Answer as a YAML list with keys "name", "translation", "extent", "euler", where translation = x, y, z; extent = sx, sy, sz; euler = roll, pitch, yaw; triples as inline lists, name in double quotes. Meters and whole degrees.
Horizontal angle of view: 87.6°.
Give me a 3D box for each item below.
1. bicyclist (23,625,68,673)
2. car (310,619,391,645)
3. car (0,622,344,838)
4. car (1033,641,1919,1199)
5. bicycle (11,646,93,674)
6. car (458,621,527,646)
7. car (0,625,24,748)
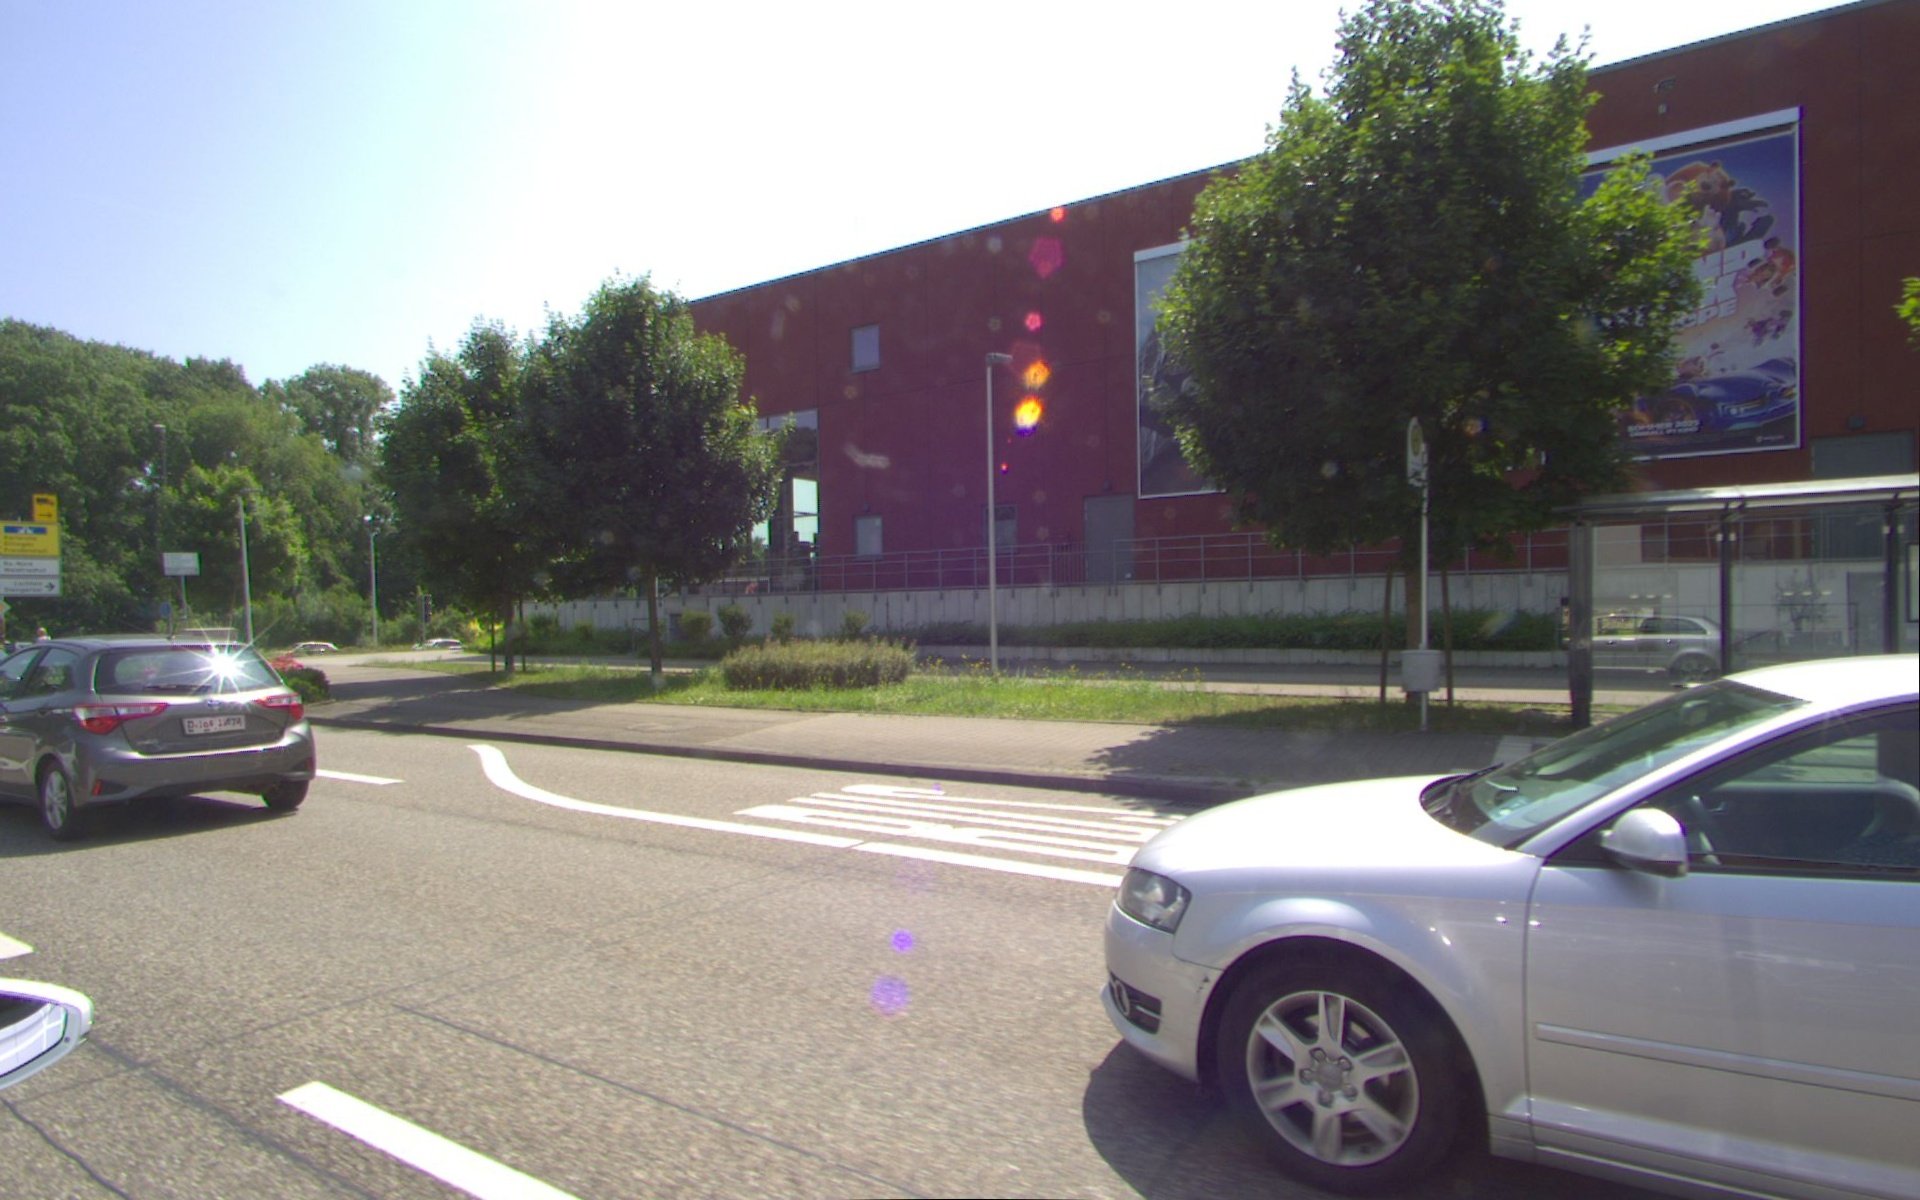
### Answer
- name: "bicyclist"
  translation: [-28.212, 1.500, 30.903]
  extent: [0.814, 1.458, 0.598]
  euler: [-1, 1, -12]
- name: "car"
  translation: [-37.984, 1.993, 62.464]
  extent: [1.651, 1.483, 3.977]
  euler: [-1, 0, 33]
- name: "car"
  translation: [-7.375, 0.994, 8.750]
  extent: [4.032, 1.496, 1.710]
  euler: [-1, -4, 31]
- name: "car"
  translation: [2.371, 0.805, 2.672]
  extent: [4.032, 1.379, 1.710]
  euler: [-1, -2, 31]
- name: "bicycle"
  translation: [-28.042, 1.844, 30.945]
  extent: [1.793, 0.776, 0.600]
  euler: [-1, 0, -12]
- name: "car"
  translation: [-31.693, 2.257, 67.955]
  extent: [1.651, 1.483, 3.977]
  euler: [-1, 0, 33]
- name: "car"
  translation: [-14.657, 1.174, 13.692]
  extent: [4.032, 1.614, 1.709]
  euler: [-1, -1, 31]
